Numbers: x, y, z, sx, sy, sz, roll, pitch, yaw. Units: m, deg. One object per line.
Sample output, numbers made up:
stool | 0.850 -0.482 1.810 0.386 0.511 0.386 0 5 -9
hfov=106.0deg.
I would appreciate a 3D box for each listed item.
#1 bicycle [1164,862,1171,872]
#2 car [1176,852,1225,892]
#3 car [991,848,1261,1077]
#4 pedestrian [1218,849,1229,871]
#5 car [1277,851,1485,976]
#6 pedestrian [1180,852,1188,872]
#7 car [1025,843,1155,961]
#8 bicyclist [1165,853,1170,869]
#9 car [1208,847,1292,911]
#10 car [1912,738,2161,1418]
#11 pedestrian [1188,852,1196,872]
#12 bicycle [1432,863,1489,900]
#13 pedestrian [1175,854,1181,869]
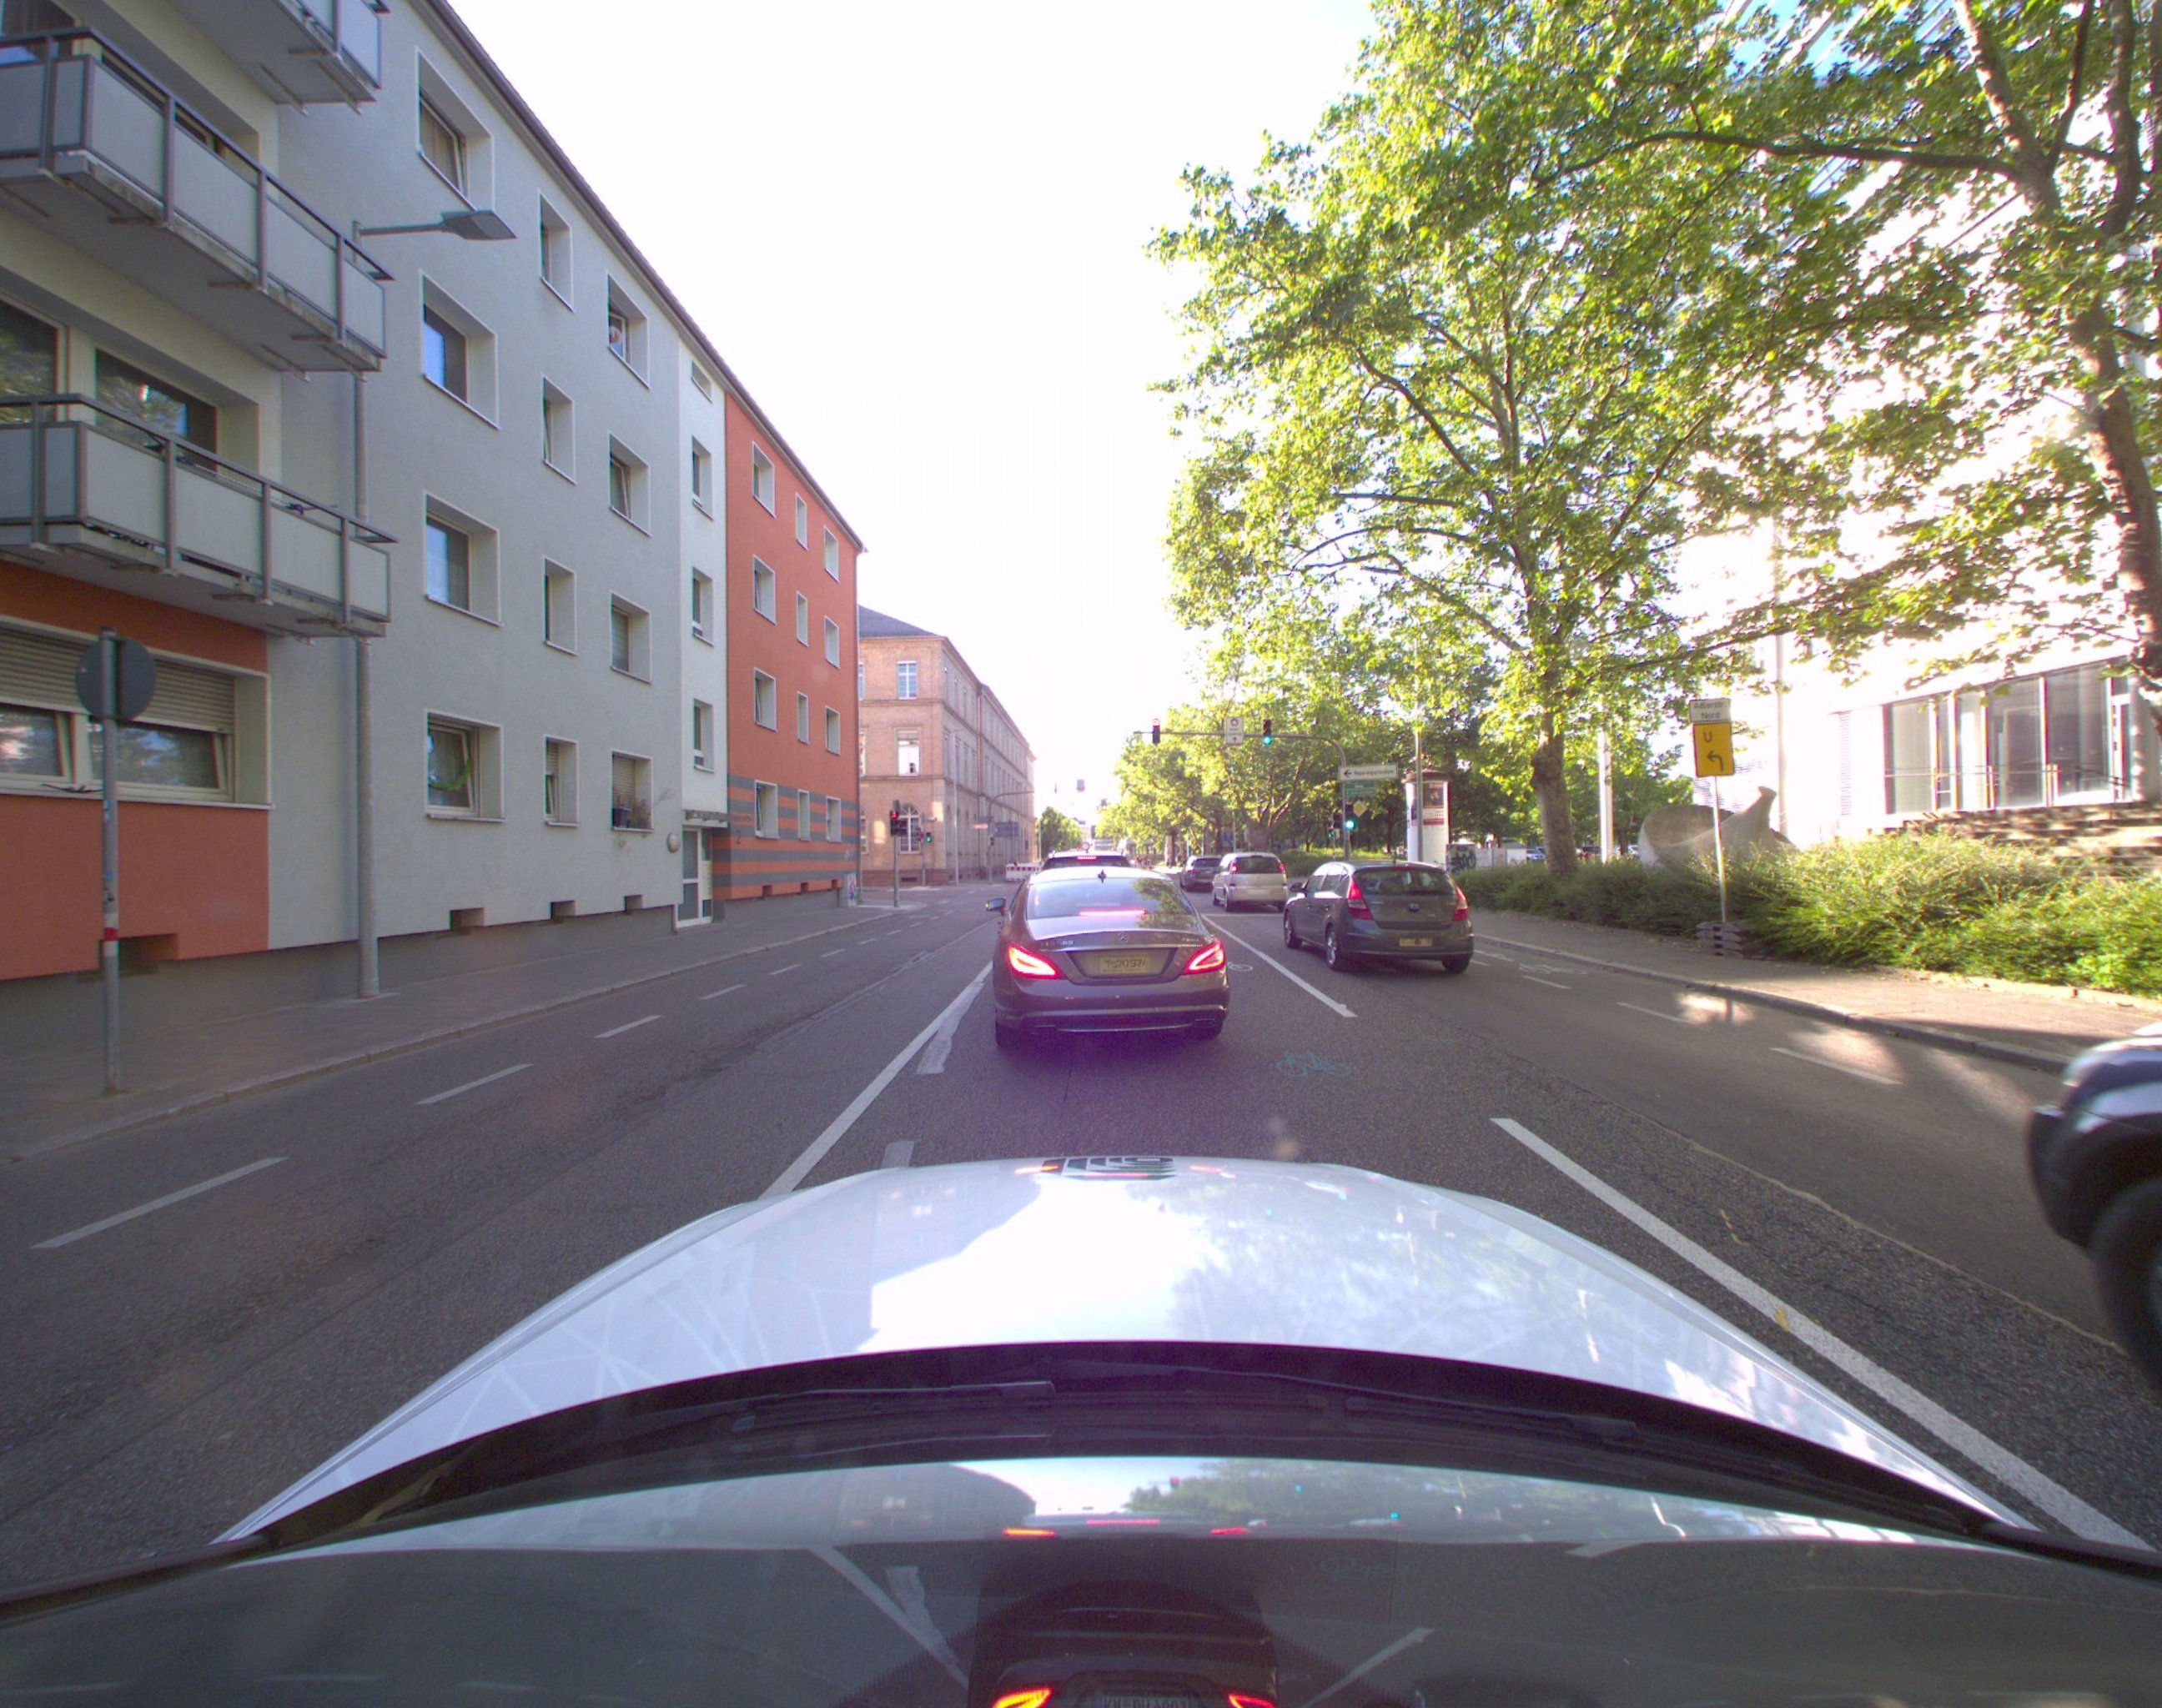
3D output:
bicycle | 11.185 1.632 104.903 0.590 1.263 1.804 0 -1 -3
car | 4.888 0.716 33.655 1.595 1.549 3.682 0 -1 2
car | 0.141 0.736 7.581 1.859 1.519 3.992 -1 0 -6
pedestrian | 9.944 0.404 56.846 0.634 1.545 0.909 0 -1 -2
car | 4.165 0.738 12.011 1.698 1.519 4.002 -1 0 2
pedestrian | 9.473 0.748 74.655 0.634 1.797 0.698 0 -1 -2
car | 0.189 0.695 13.716 1.854 1.682 4.002 -1 0 2
bicyclist | 11.119 0.846 104.900 0.593 2.039 0.566 0 -1 -2
car | 4.729 0.674 23.274 1.725 1.662 3.682 0 -1 2
car | 3.672 0.570 0.490 1.854 1.764 4.483 -1 0 2
pedestrian | 10.152 0.740 74.593 0.634 1.760 0.698 0 -1 -2
bicycle | 10.981 0.777 23.555 1.895 1.028 0.635 0 -1 -36
pedestrian | 10.162 0.766 85.019 0.554 1.509 0.345 0 -1 -3
